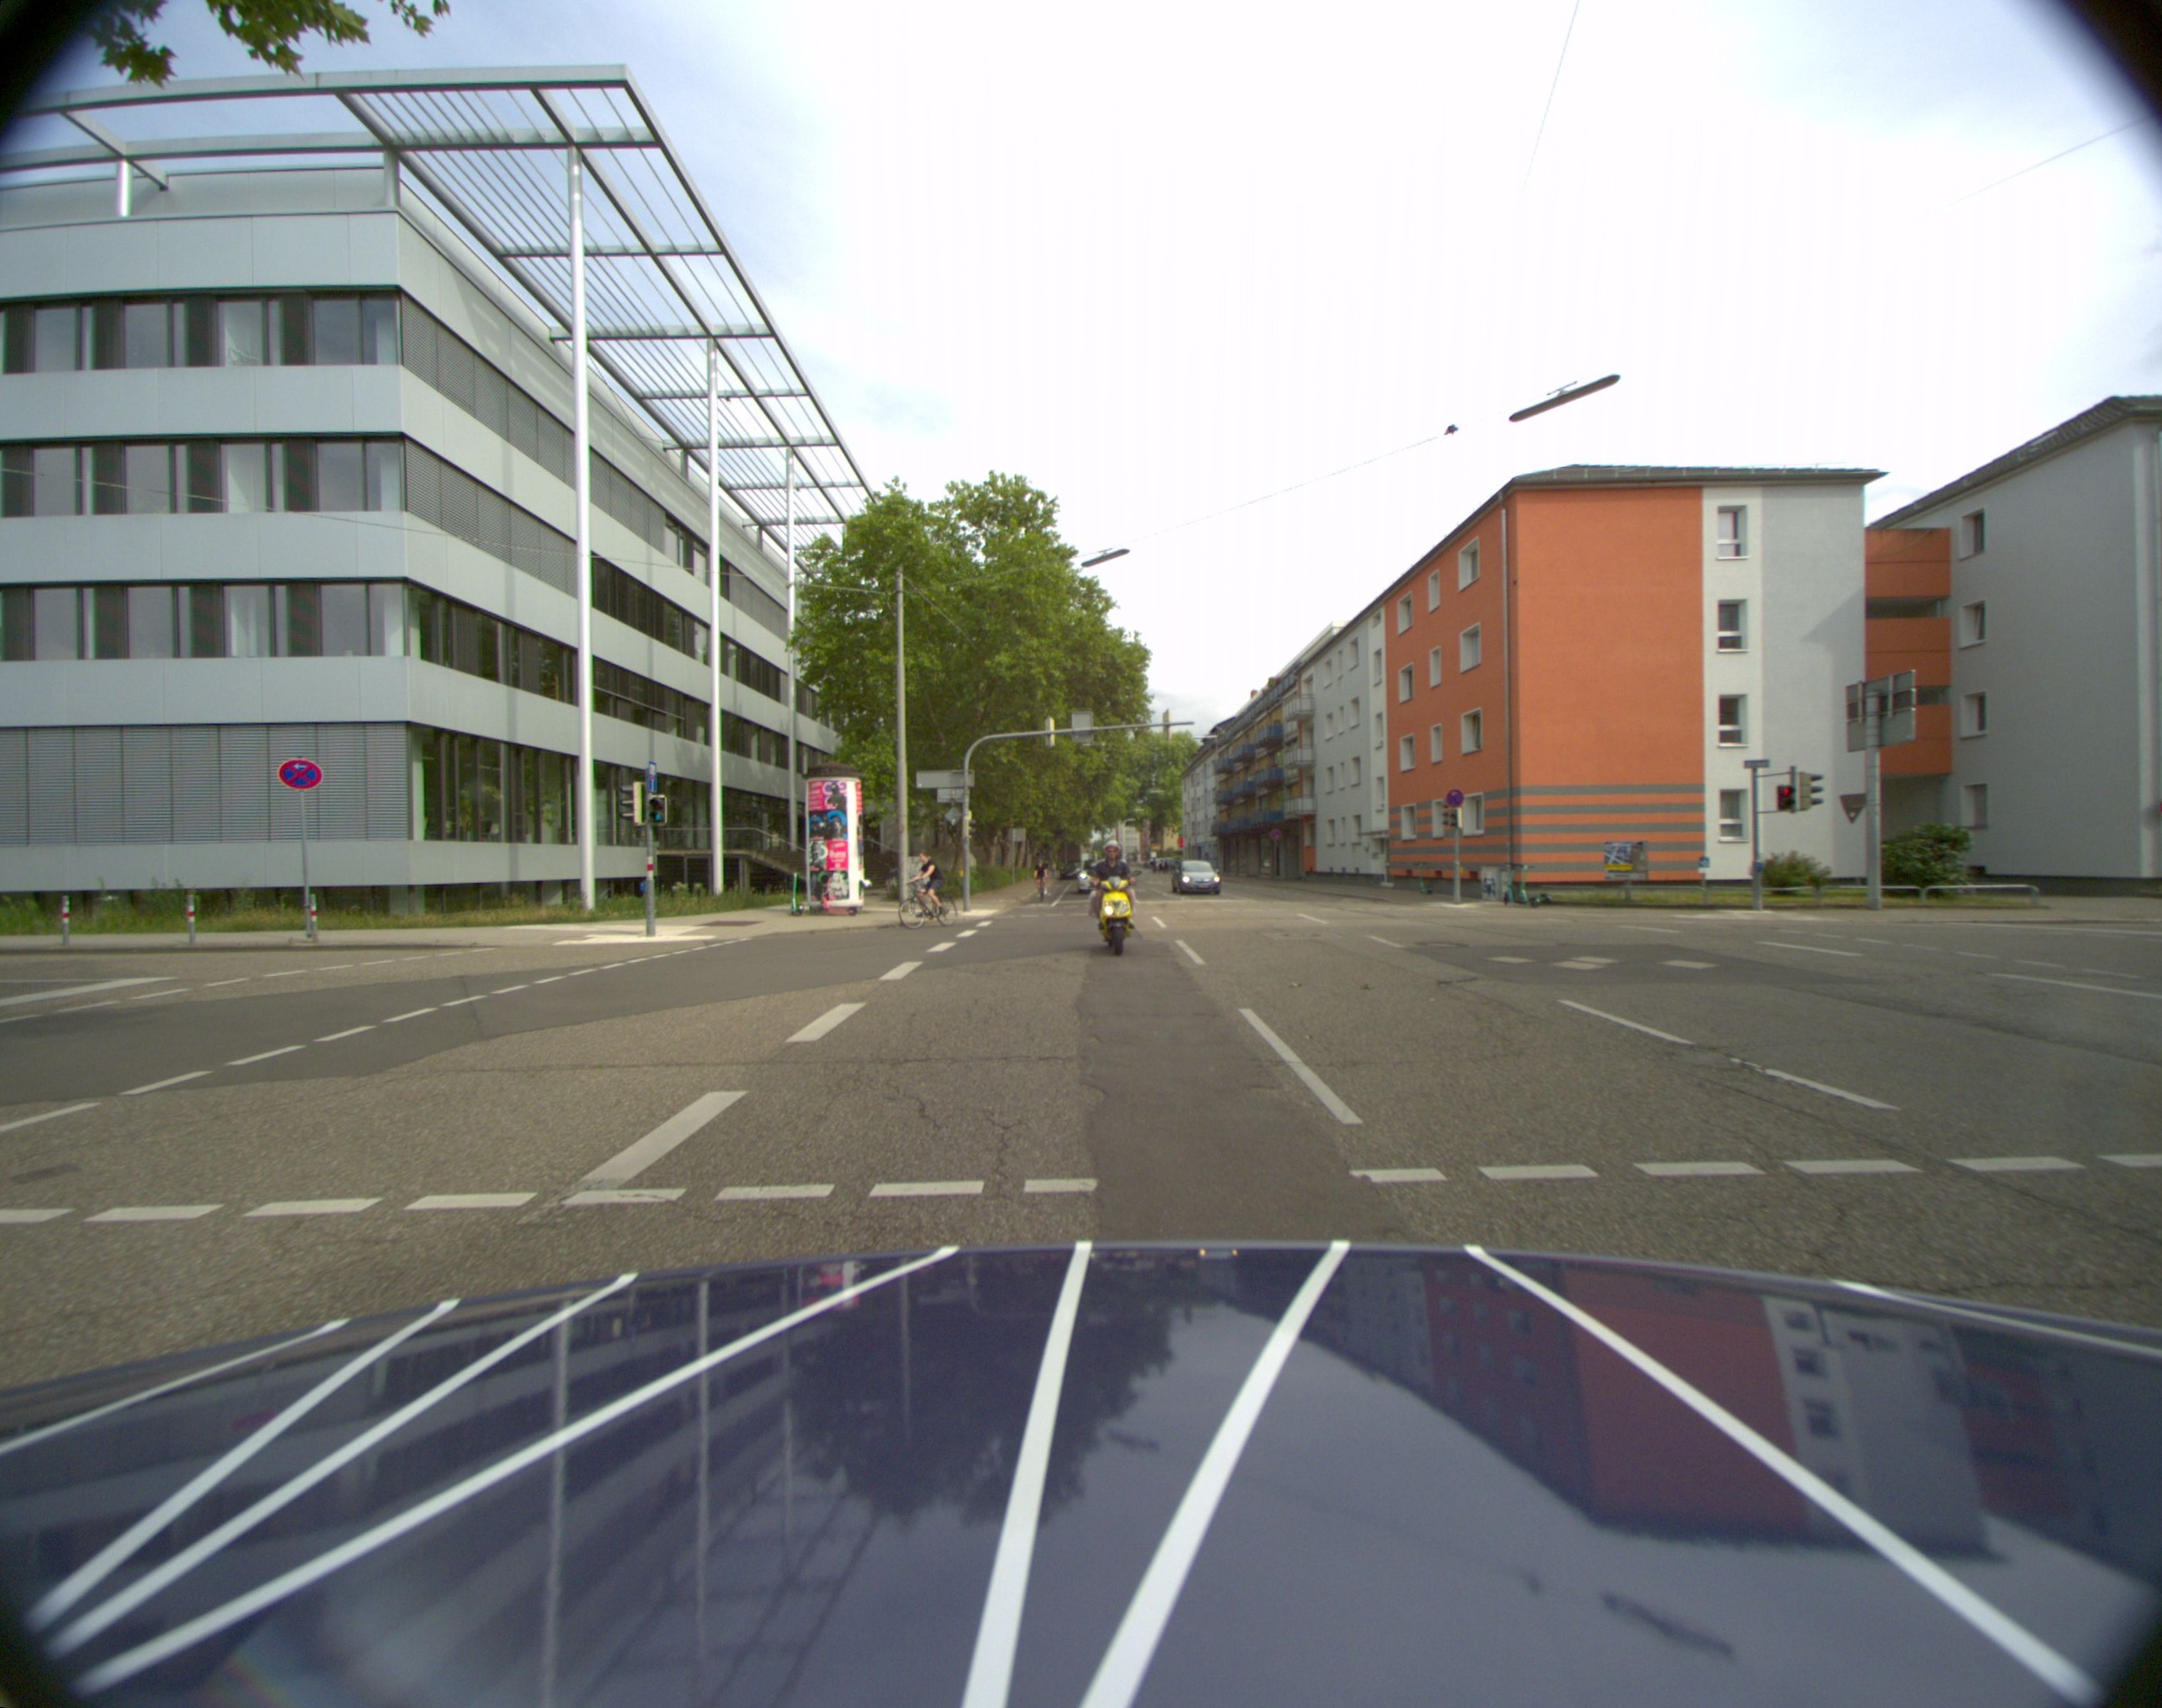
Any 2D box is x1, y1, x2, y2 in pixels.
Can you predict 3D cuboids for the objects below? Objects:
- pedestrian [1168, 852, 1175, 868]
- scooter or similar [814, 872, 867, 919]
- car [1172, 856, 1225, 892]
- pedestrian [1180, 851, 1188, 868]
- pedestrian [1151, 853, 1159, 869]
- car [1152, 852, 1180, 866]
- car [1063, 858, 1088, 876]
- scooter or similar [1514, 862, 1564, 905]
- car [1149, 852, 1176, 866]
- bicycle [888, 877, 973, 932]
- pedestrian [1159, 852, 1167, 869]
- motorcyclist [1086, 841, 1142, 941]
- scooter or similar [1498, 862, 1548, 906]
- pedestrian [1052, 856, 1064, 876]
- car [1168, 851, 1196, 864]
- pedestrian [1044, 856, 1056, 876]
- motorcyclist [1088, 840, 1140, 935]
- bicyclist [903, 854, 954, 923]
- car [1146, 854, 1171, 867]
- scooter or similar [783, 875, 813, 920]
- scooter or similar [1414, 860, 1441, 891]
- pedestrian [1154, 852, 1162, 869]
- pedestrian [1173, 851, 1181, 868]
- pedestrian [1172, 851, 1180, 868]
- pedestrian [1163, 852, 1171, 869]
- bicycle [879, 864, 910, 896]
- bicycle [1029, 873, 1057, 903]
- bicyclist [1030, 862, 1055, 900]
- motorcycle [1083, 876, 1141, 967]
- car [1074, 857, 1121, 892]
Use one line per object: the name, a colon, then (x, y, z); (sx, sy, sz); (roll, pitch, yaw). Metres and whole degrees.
pedestrian: (11.051, 0.737, 92.792); (0.842, 2.002, 0.875); (-3, 0, 5)
scooter or similar: (-6.461, 1.106, 20.442); (1.309, 1.202, 0.344); (1, 1, 5)
car: (5.020, 0.820, 32.899); (1.673, 1.430, 3.820); (-1, 0, 0)
pedestrian: (12.322, 0.665, 91.048); (0.842, 2.002, 0.875); (-3, 0, 5)
pedestrian: (9.164, 0.836, 94.266); (0.842, 2.002, 0.875); (-3, 0, 5)
car: (13.098, 0.802, 117.648); (3.997, 2.002, 2.000); (-3, 0, 0)
car: (-0.485, 1.150, 70.444); (1.998, 1.532, 4.272); (-3, 0, 3)
scooter or similar: (12.855, 0.808, 21.348); (0.330, 1.151, 1.353); (-3, 0, -12)
car: (12.894, 0.782, 120.416); (3.997, 2.002, 2.000); (-3, 0, 0)
bicycle: (-3.527, 1.167, 17.955); (0.771, 1.124, 2.007); (-4, -1, 30)
pedestrian: (9.845, 0.785, 91.470); (0.842, 2.002, 0.875); (-3, 0, 5)
motorcyclist: (0.487, 0.531, 11.155); (0.781, 1.419, 0.764); (0, 0, 3)
scooter or similar: (12.224, 0.818, 21.044); (0.330, 1.172, 1.342); (-3, 0, -12)
pedestrian: (-2.366, 1.213, 78.165); (1.003, 2.002, 0.998); (-3, 0, 3)
car: (15.002, 0.541, 113.131); (3.870, 1.678, 1.882); (-3, 0, 0)
pedestrian: (-3.184, 1.269, 78.217); (1.003, 2.002, 0.998); (-3, 0, 3)
motorcyclist: (0.519, 0.509, 11.819); (0.781, 1.419, 0.689); (0, 0, 3)
bicyclist: (-3.609, 0.817, 18.024); (0.771, 1.574, 0.803); (-4, 0, 30)
car: (13.133, 1.057, 129.538); (3.997, 2.002, 2.000); (-3, 0, 0)
scooter or similar: (-7.566, 1.141, 20.300); (0.473, 1.131, 1.307); (1, 0, -33)
scooter or similar: (12.701, 0.774, 27.884); (0.369, 1.117, 1.354); (-3, 0, 1)
pedestrian: (9.446, 0.817, 93.437); (0.842, 2.002, 0.875); (-3, 0, 5)
pedestrian: (11.473, 0.703, 90.750); (0.842, 2.002, 0.875); (-3, 0, 5)
pedestrian: (11.652, 0.712, 93.242); (0.842, 2.002, 0.875); (-3, 0, 5)
pedestrian: (10.222, 0.762, 90.732); (0.842, 2.002, 0.875); (-3, 0, 5)
bicycle: (-7.103, 0.979, 29.013); (0.700, 1.162, 1.725); (-3, 0, 1)
bicycle: (-1.463, 1.299, 29.707); (0.770, 1.009, 2.408); (-4, 0, 4)
bicyclist: (-1.508, 1.057, 29.949); (0.784, 1.438, 0.914); (-3, 0, 4)
motorcycle: (0.469, 0.940, 11.262); (0.781, 1.171, 1.993); (0, 0, 3)
car: (0.861, 0.946, 37.092); (1.998, 1.543, 4.522); (-3, 0, 4)
